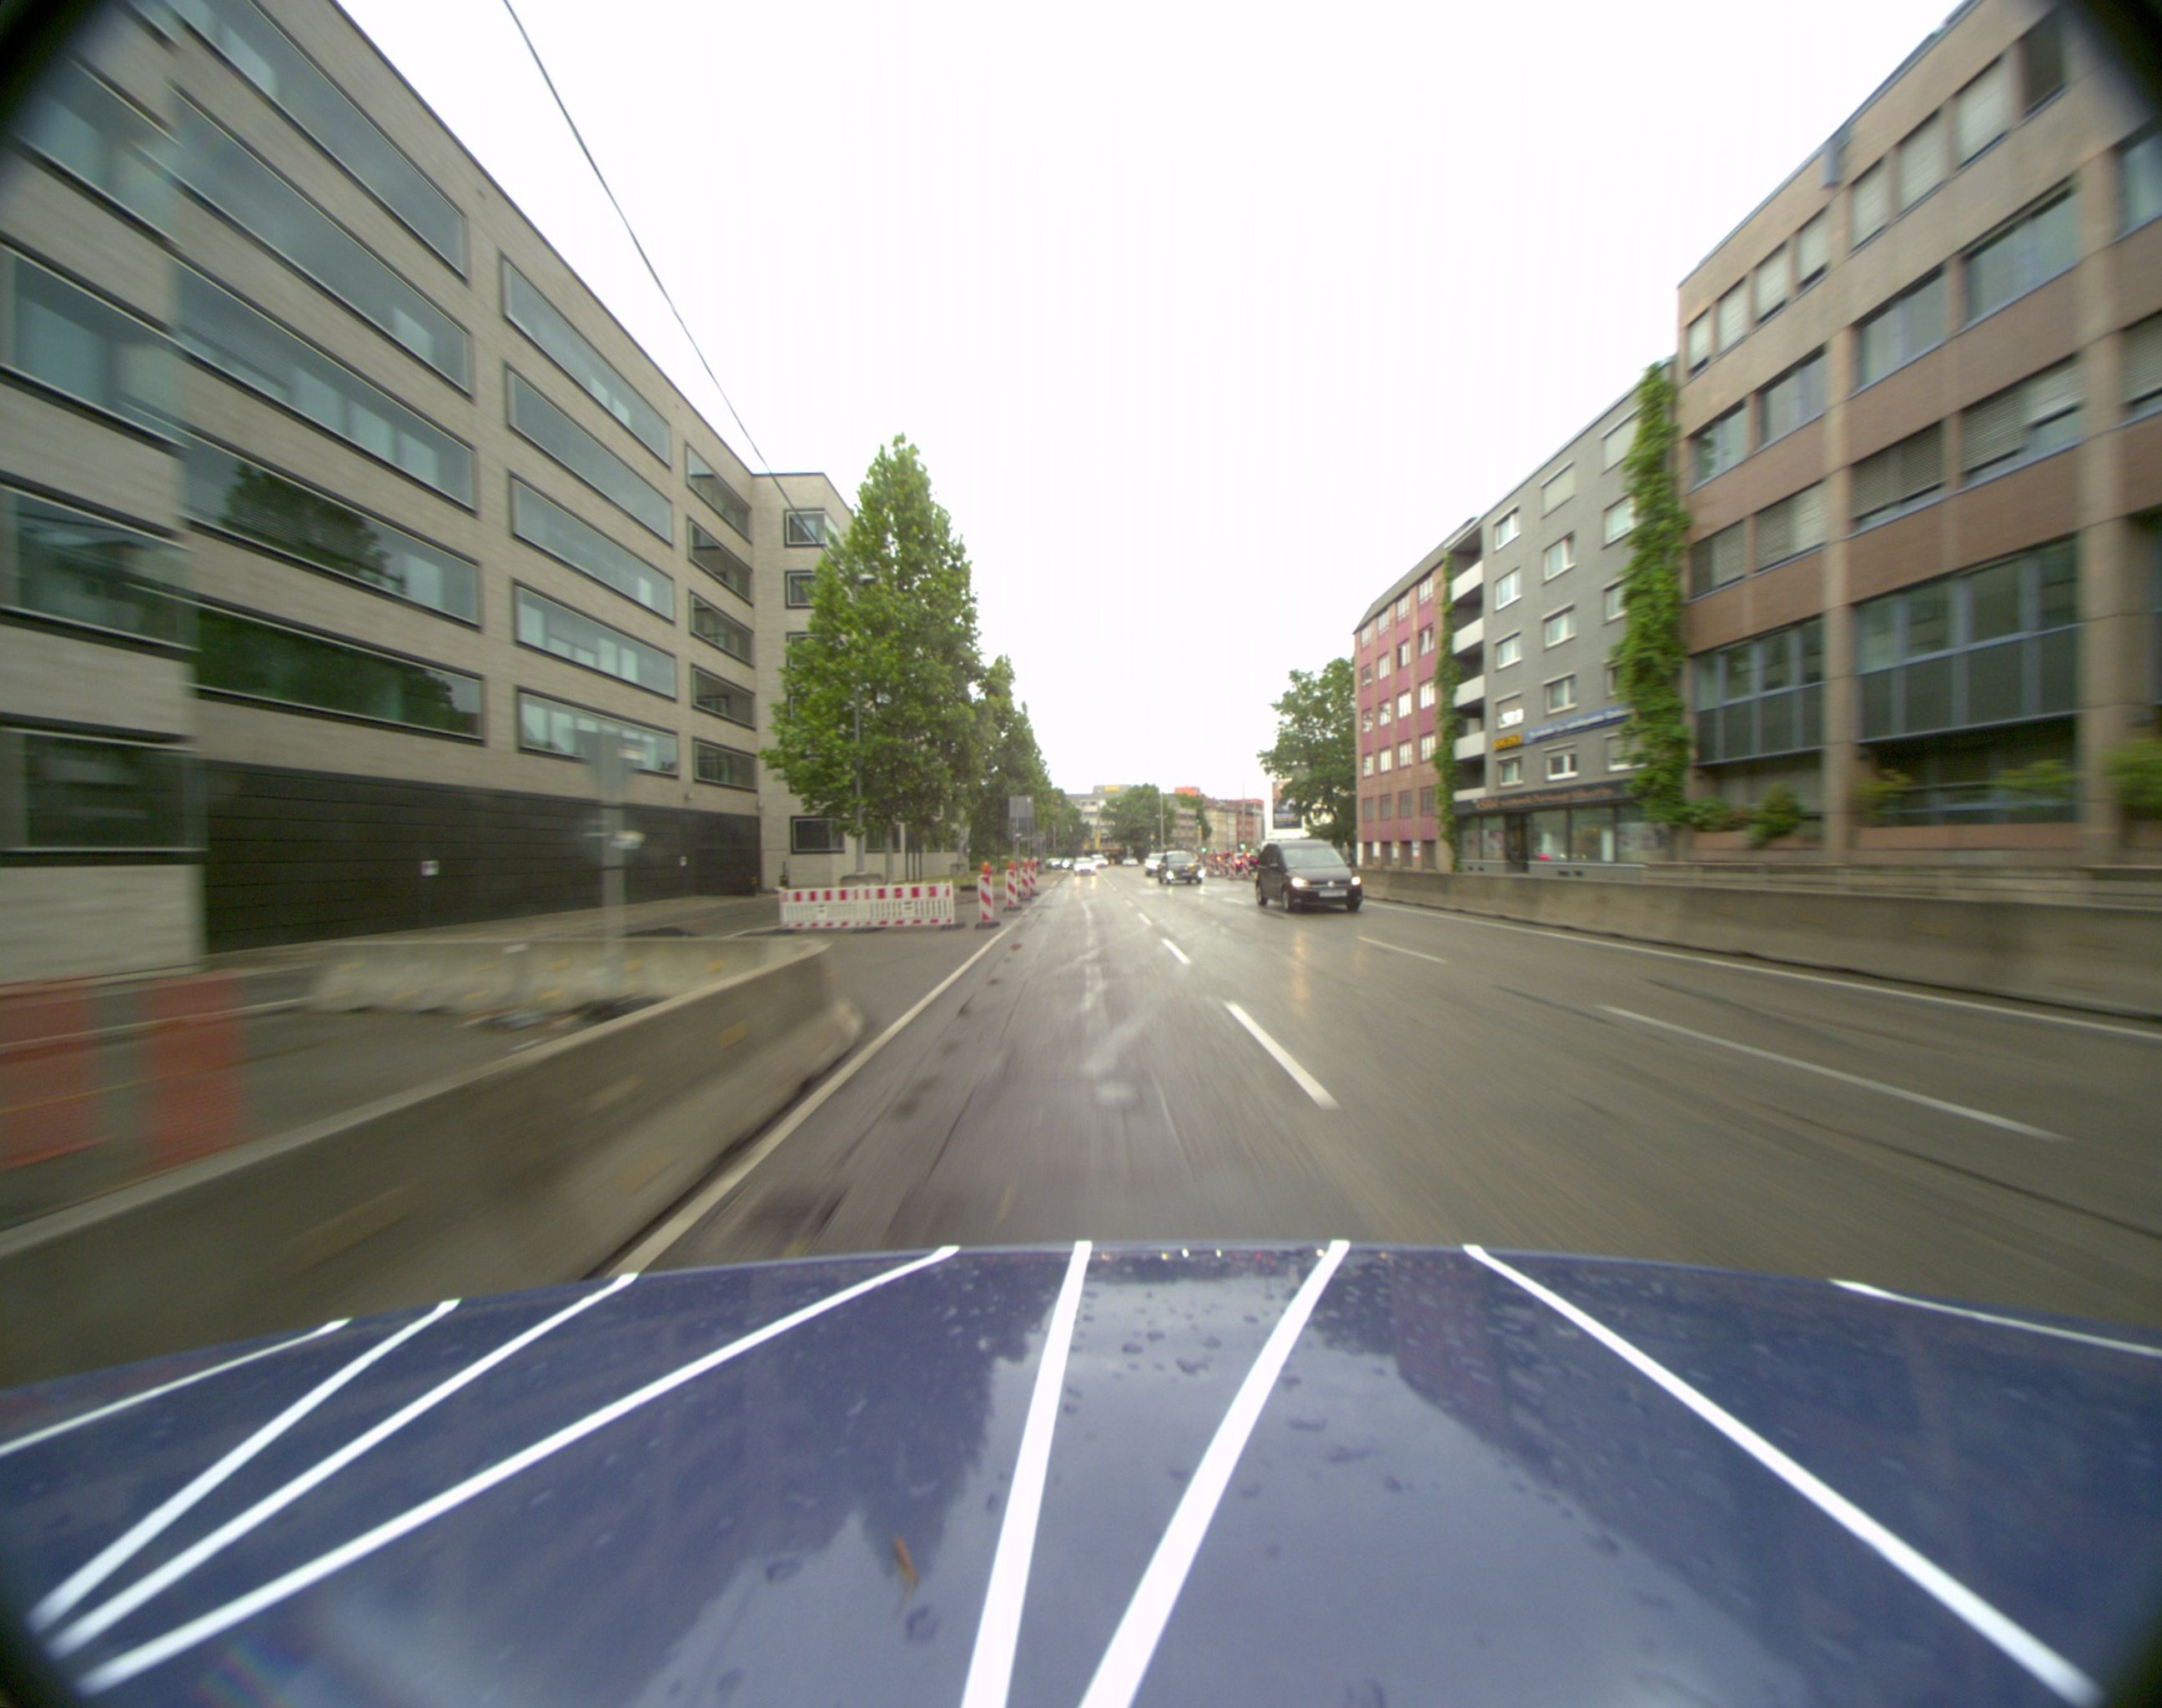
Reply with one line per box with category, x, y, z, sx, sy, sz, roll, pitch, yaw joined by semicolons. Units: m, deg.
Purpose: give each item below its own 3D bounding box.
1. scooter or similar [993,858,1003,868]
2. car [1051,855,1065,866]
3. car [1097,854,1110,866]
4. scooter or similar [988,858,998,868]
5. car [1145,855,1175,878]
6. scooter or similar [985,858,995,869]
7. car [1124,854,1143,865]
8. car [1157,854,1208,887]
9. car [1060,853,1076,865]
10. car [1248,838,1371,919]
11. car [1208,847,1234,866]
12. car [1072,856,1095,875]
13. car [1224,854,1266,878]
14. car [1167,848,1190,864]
scooter or similar;-10.419;1.128;95.111;1.241;1.305;0.554;-1;1;-3
car;-3.596;0.983;116.632;1.848;1.566;3.998;-1;0;-6
car;3.113;0.868;104.981;1.847;1.566;4.000;-1;0;1
scooter or similar;-11.106;1.160;95.624;1.241;1.305;0.472;-1;1;-3
car;5.660;0.846;54.769;1.847;1.566;4.000;-1;0;1
scooter or similar;-11.546;1.196;96.140;1.241;1.305;0.472;-1;1;-3
car;7.954;0.849;115.902;1.849;1.566;3.996;-1;0;-11
car;5.158;0.825;39.179;1.930;1.532;3.999;-2;0;-2
car;-1.643;0.625;97.715;1.848;1.483;3.998;-1;0;-4
car;5.668;0.561;19.380;1.795;1.789;4.124;-2;0;-1
car;13.491;0.231;73.225;1.725;1.760;4.425;-1;0;1
car;0.257;0.973;66.064;1.847;1.566;4.000;-1;0;1
car;10.964;0.779;51.031;1.865;1.524;4.230;-1;0;-1
car;12.476;0.229;97.456;1.999;1.979;5.287;-1;0;-3
